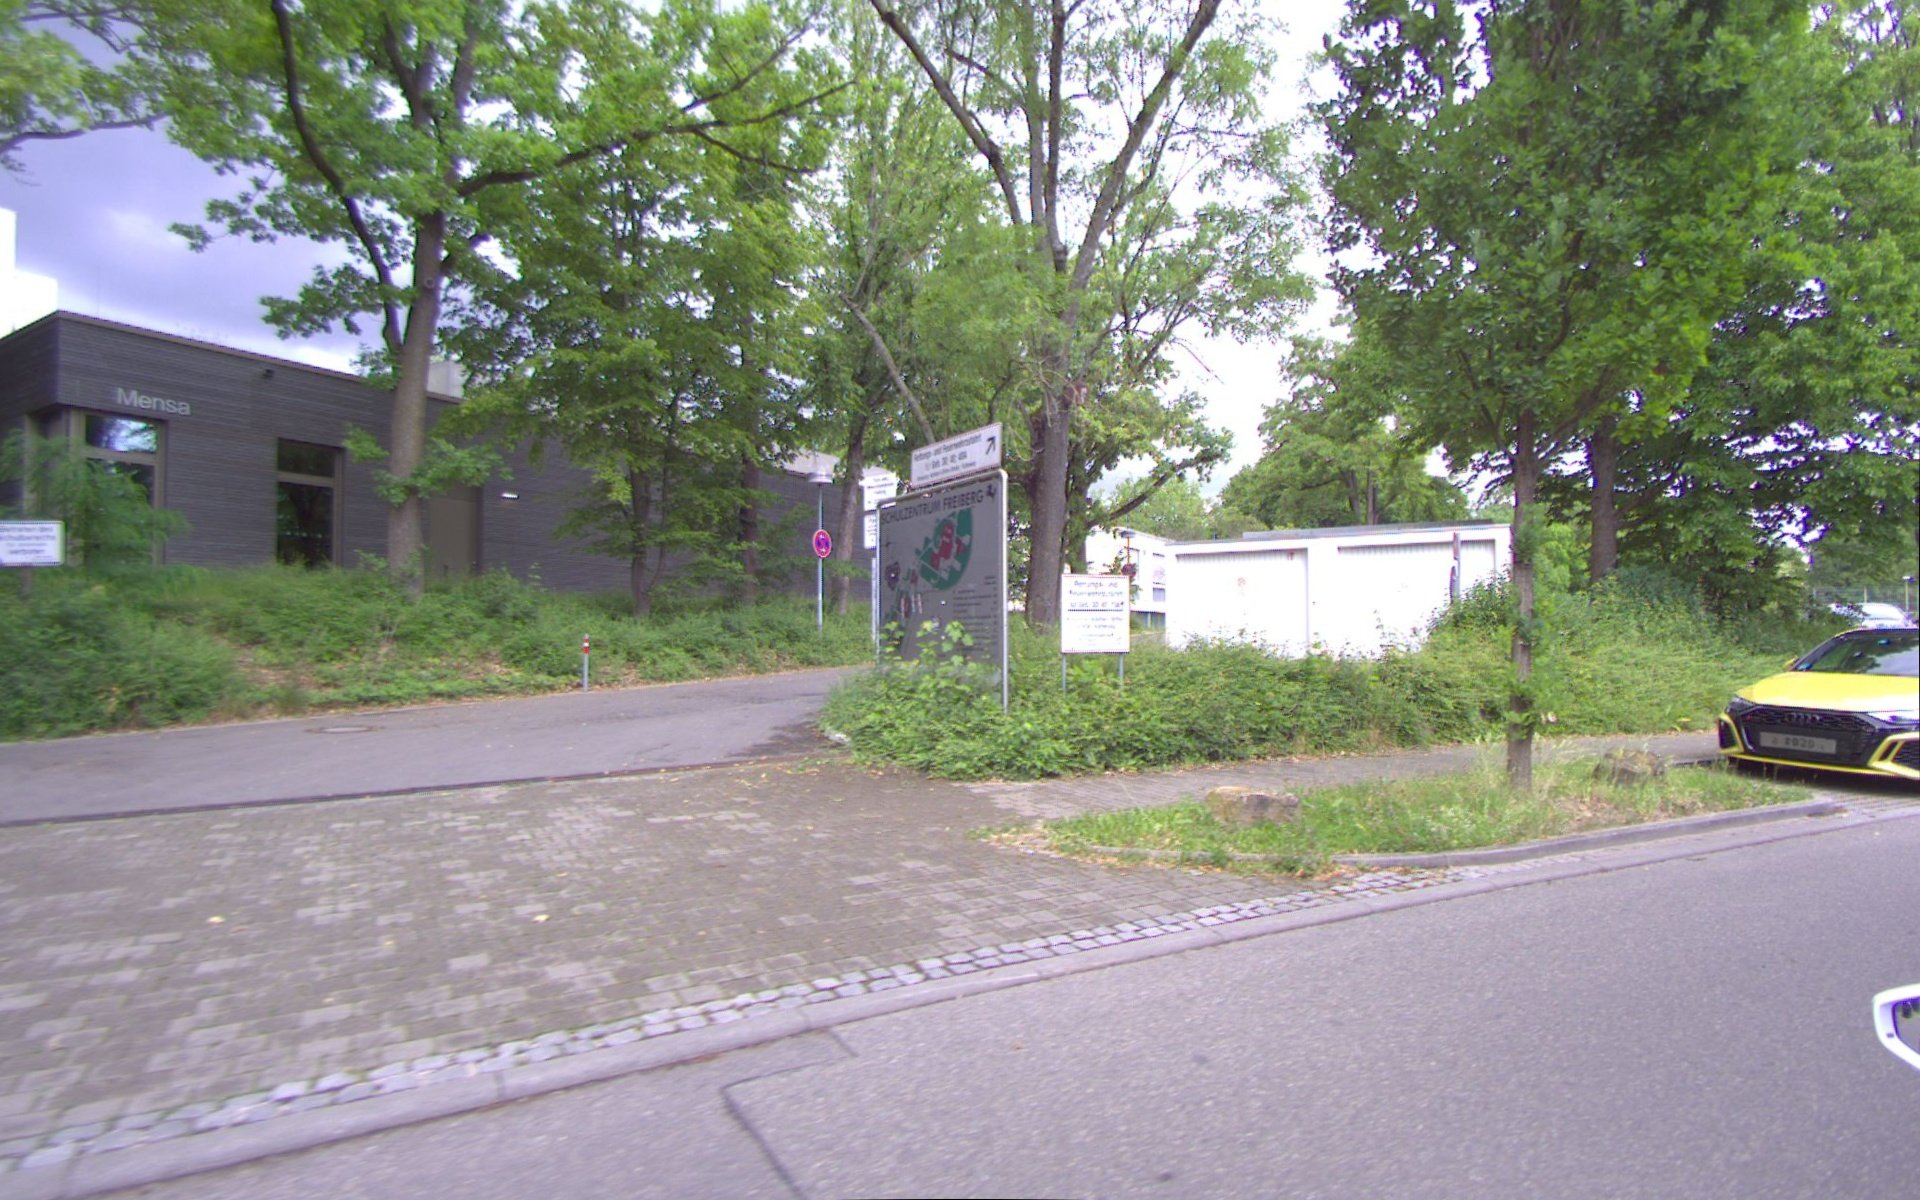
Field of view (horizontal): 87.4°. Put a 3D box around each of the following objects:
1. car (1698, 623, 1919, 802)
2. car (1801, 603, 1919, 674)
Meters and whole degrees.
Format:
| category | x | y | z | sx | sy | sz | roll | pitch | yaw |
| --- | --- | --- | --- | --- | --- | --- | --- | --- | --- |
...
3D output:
| category | x | y | z | sx | sy | sz | roll | pitch | yaw |
| --- | --- | --- | --- | --- | --- | --- | --- | --- | --- |
| car | 9.239 | 0.961 | 9.716 | 4.218 | 1.421 | 1.694 | 1 | -1 | -27 |
| car | 22.700 | 0.925 | 25.358 | 1.717 | 1.643 | 3.862 | -2 | -1 | 33 |
